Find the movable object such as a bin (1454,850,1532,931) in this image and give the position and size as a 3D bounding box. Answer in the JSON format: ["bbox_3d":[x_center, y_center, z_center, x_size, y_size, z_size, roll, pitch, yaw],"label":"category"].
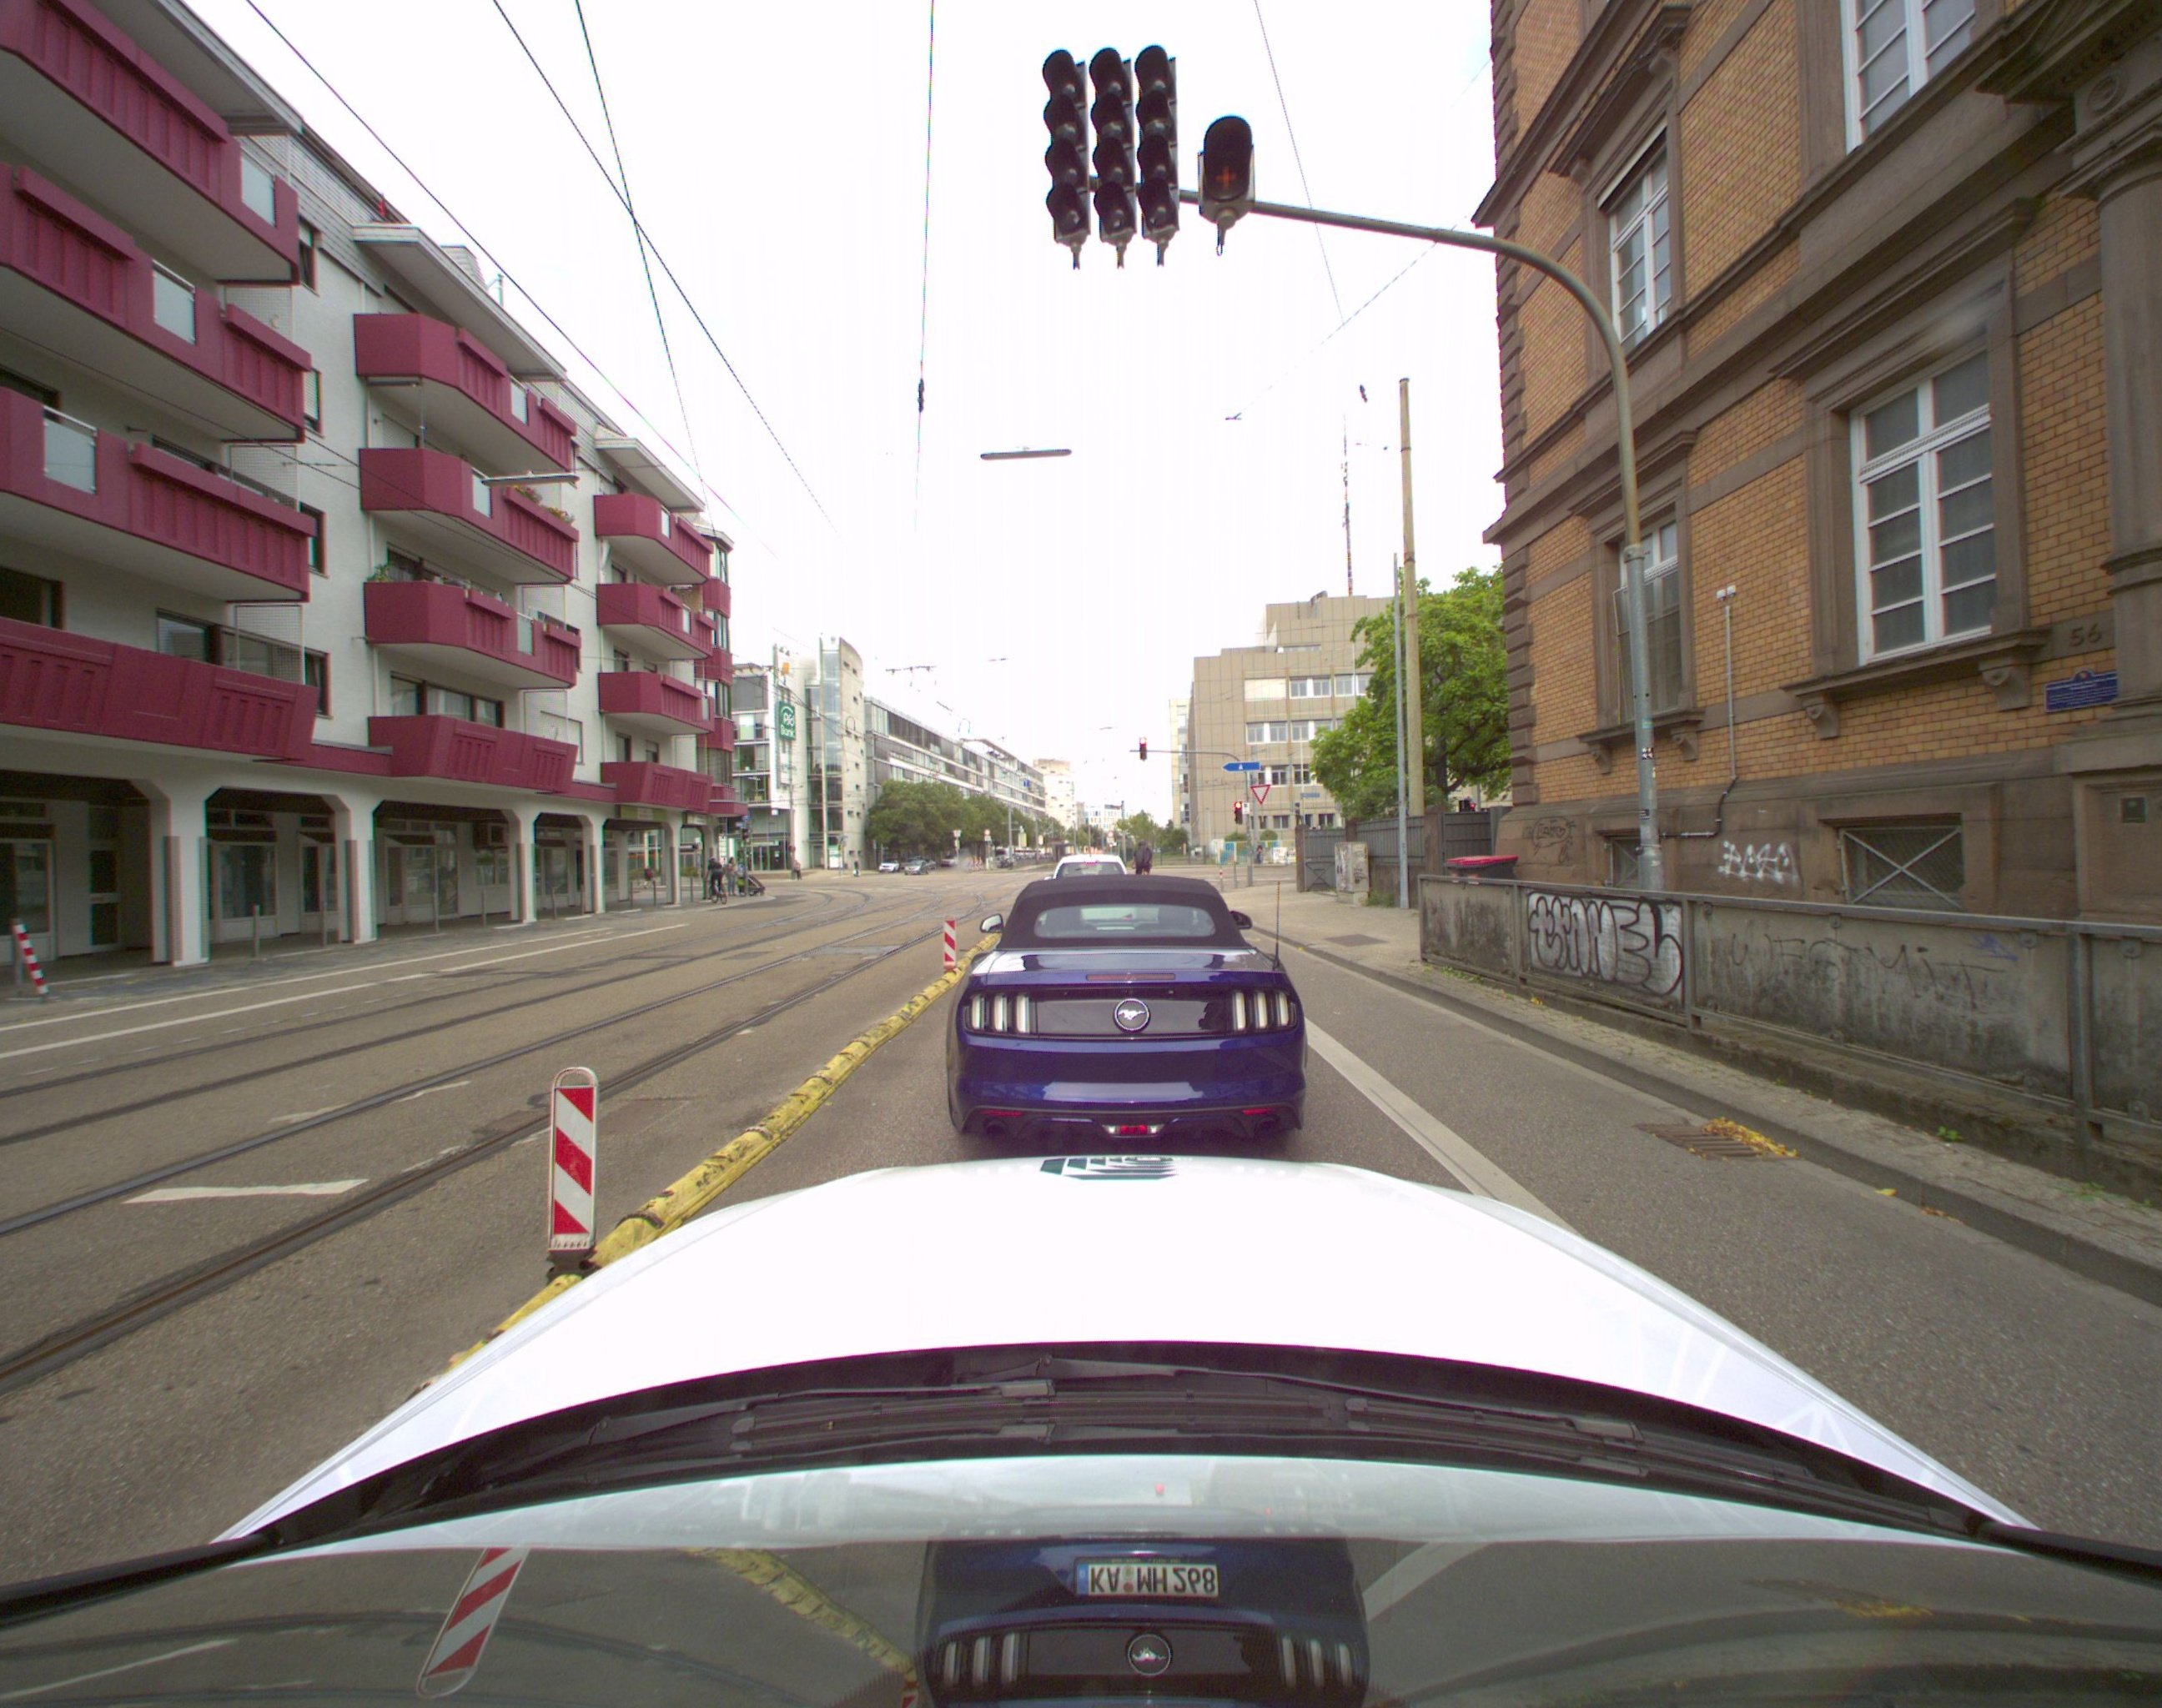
[{"bbox_3d":[5.966,0.519,11.835,0.662,1.082,0.700,-5,-1,-3],"label":"movable object such as a bin"}]

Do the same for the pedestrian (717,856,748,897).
[{"bbox_3d":[-15.228,0.976,35.633,0.945,1.743,0.811,-2,0,-2],"label":"pedestrian"}]

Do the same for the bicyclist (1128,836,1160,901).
[{"bbox_3d":[1.809,0.406,23.547,0.793,1.785,1.233,-2,0,0],"label":"bicyclist"}]

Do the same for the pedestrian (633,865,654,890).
[{"bbox_3d":[-29.666,1.581,55.279,0.928,1.671,0.769,-2,0,14],"label":"pedestrian"}]

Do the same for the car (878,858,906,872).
[{"bbox_3d":[-21.241,1.200,91.739,1.820,1.556,4.223,0,0,6],"label":"car"}]

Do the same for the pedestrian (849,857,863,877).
[{"bbox_3d":[-21.573,1.246,78.063,0.983,1.855,0.904,-2,0,8],"label":"pedestrian"}]

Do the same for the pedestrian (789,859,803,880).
[{"bbox_3d":[-25.508,1.362,72.944,0.828,1.865,0.769,-2,0,14],"label":"pedestrian"}]

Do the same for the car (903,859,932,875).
[{"bbox_3d":[-16.763,1.334,83.620,1.659,1.506,4.242,0,0,6],"label":"car"}]

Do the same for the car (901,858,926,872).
[{"bbox_3d":[-20.264,1.319,98.826,1.820,1.556,4.223,0,0,6],"label":"car"}]

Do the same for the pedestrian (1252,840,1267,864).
[{"bbox_3d":[14.951,-0.178,68.090,1.080,1.898,0.903,-2,0,7],"label":"pedestrian"}]

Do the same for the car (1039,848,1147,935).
[{"bbox_3d":[0.135,0.645,16.284,1.831,1.439,4.183,-2,0,-2],"label":"car"}]

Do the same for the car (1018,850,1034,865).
[{"bbox_3d":[-7.839,0.499,116.347,1.778,1.987,4.123,-2,0,2],"label":"car"}]

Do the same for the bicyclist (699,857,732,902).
[{"bbox_3d":[-13.710,0.951,30.542,0.756,1.651,1.042,-2,0,-45],"label":"bicyclist"}]

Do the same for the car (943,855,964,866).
[{"bbox_3d":[-18.306,0.965,116.990,1.978,1.556,4.516,0,0,3],"label":"car"}]

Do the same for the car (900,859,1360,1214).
[{"bbox_3d":[0.277,0.764,5.479,1.869,1.404,4.284,-1,0,2],"label":"car"}]

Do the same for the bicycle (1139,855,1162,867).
[{"bbox_3d":[6.186,0.632,72.743,0.637,0.981,2.133,-2,-2,-40],"label":"bicycle"}]

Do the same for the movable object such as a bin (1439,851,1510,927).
[{"bbox_3d":[6.049,0.529,12.550,0.649,1.082,0.677,-5,-1,-4],"label":"movable object such as a bin"}]

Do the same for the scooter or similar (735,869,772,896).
[{"bbox_3d":[-14.336,1.254,35.684,1.192,1.128,0.946,-1,0,-1],"label":"scooter or similar"}]

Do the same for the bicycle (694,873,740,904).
[{"bbox_3d":[-13.673,1.295,30.516,0.769,1.086,2.332,-2,0,-45],"label":"bicycle"}]

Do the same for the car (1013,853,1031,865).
[{"bbox_3d":[-8.017,0.695,111.179,1.861,1.605,4.214,-2,0,2],"label":"car"}]

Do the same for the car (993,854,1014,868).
[{"bbox_3d":[-9.282,0.828,97.664,1.872,1.628,4.089,-2,0,2],"label":"car"}]

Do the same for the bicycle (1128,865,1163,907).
[{"bbox_3d":[1.827,0.892,23.374,0.798,1.086,2.131,-2,0,0],"label":"bicycle"}]
